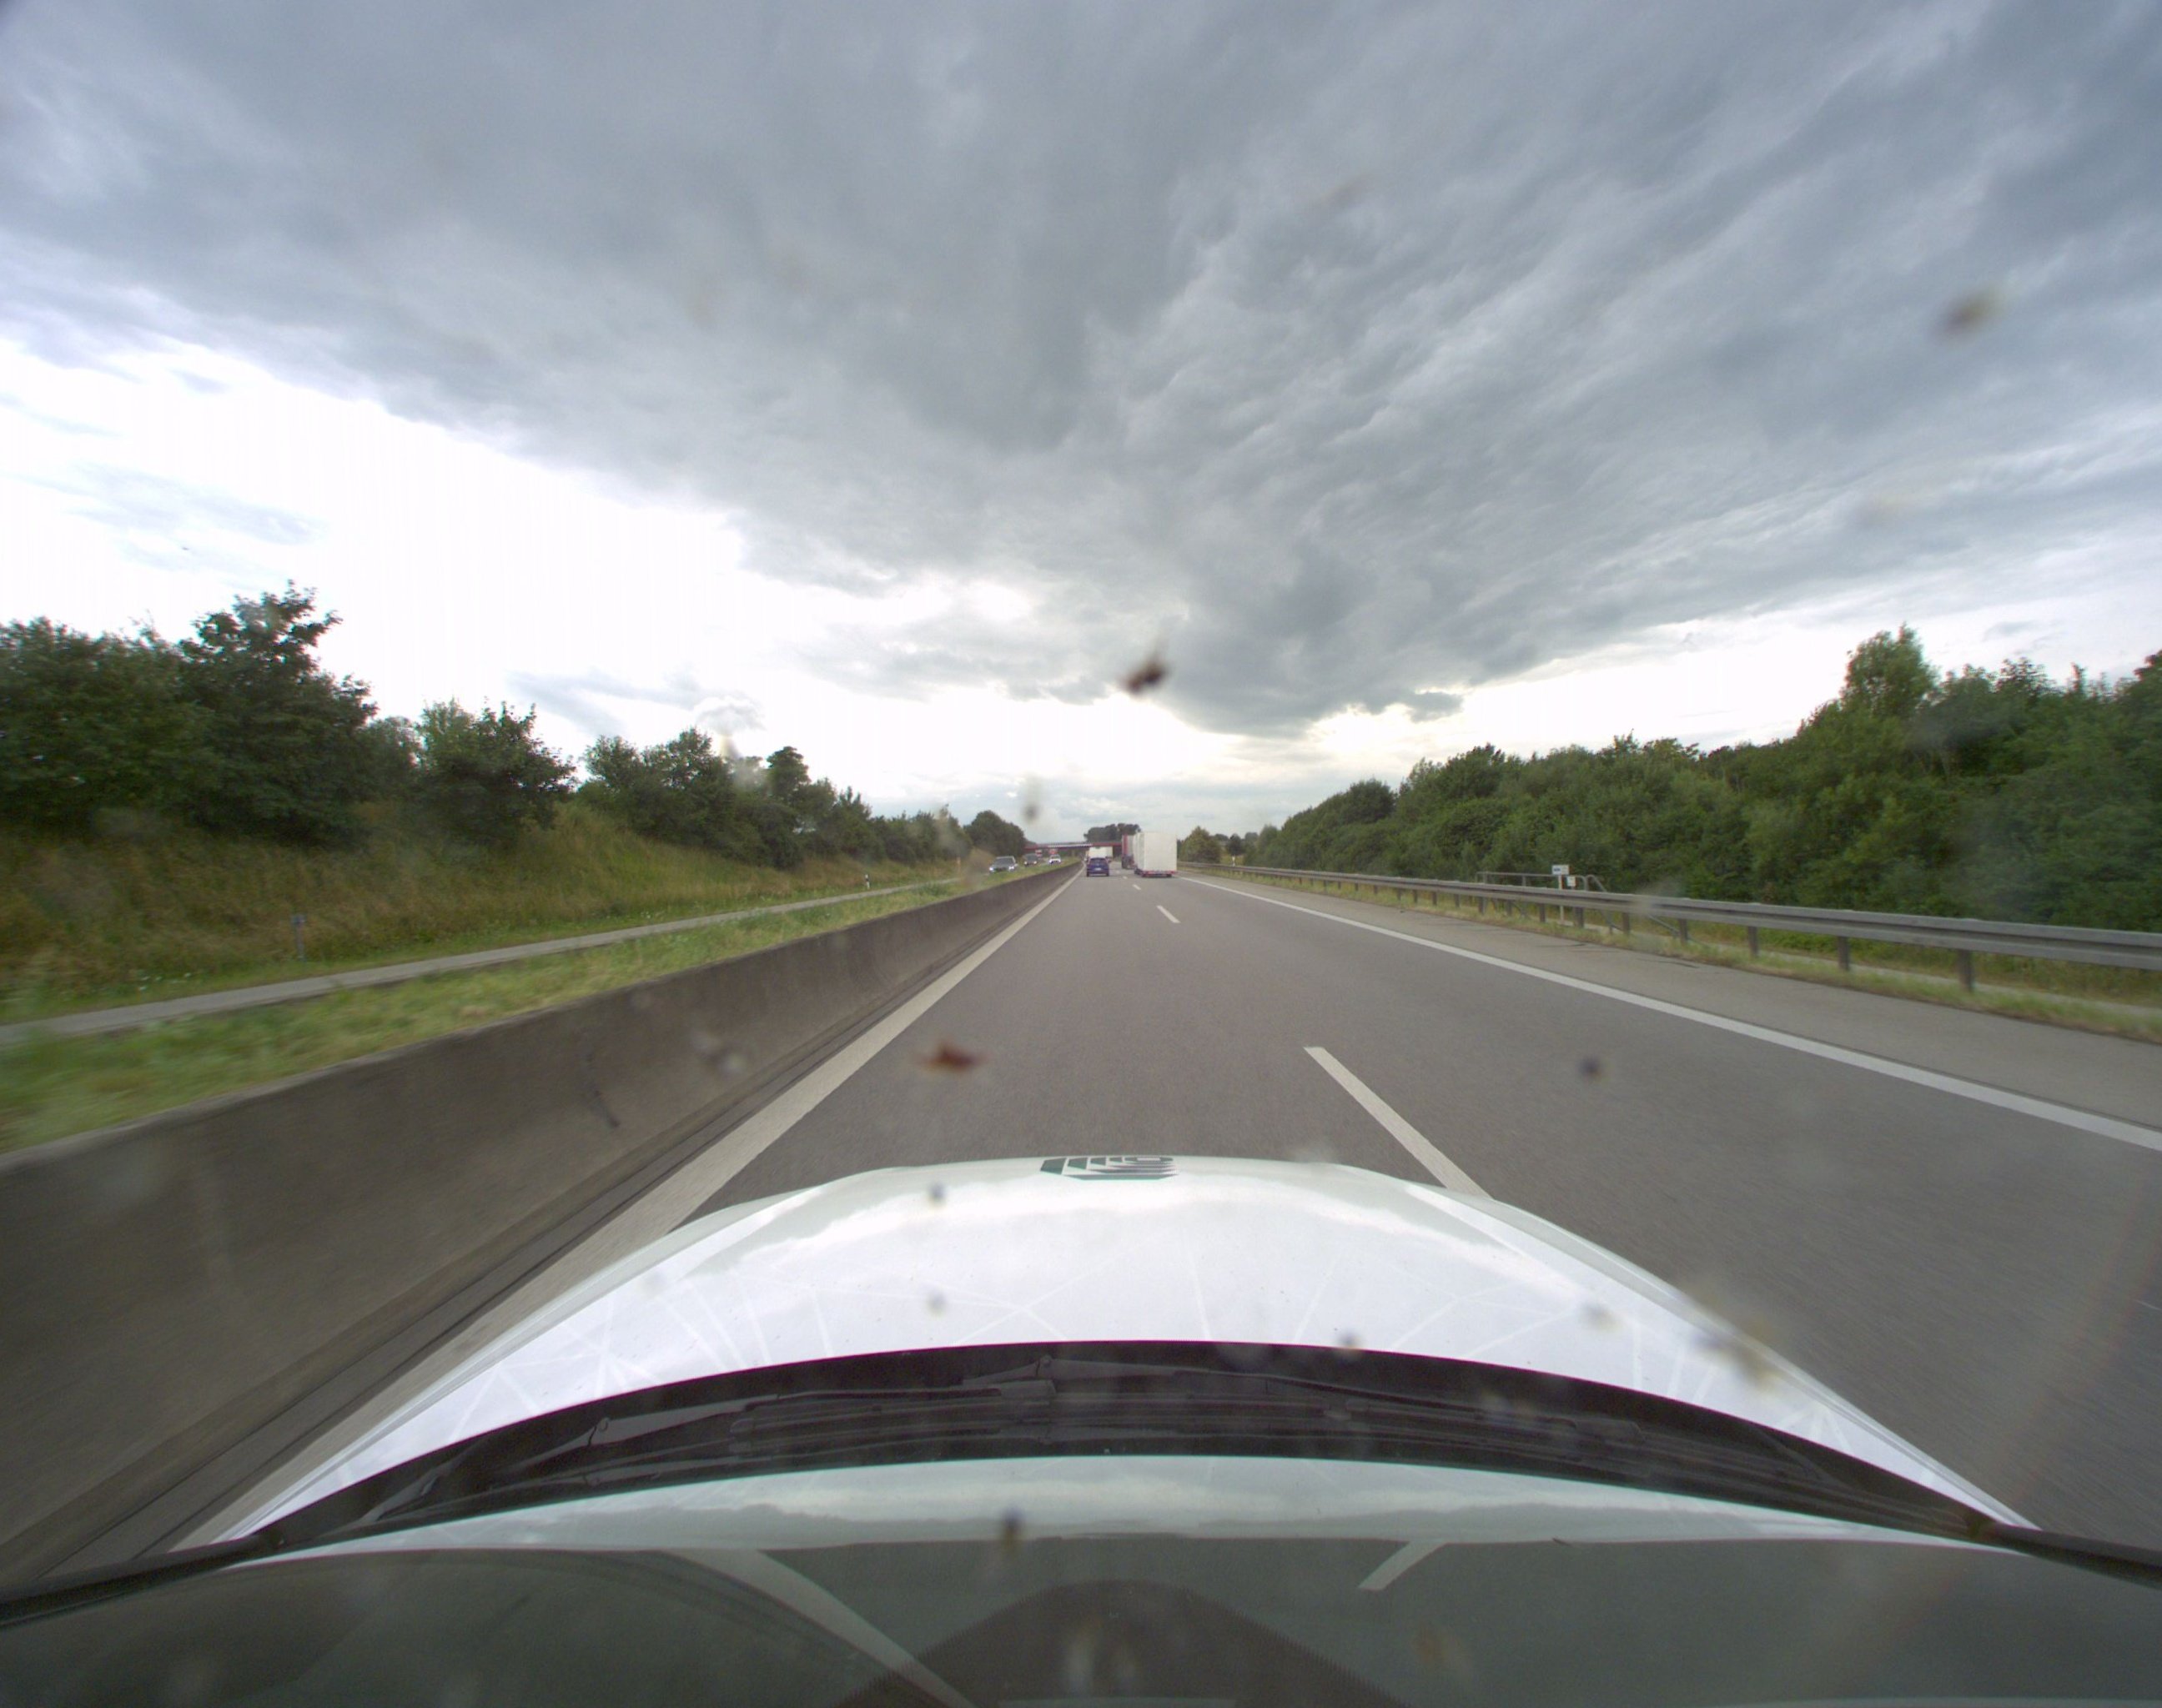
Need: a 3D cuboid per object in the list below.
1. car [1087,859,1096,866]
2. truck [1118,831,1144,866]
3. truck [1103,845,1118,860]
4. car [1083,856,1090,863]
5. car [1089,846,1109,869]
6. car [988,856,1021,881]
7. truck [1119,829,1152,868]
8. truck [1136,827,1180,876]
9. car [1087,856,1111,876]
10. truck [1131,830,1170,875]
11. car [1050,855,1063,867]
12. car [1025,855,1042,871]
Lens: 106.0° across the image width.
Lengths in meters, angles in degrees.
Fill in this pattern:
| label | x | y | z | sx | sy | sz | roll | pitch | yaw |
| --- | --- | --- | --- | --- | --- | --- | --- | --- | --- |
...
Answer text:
| label | x | y | z | sx | sy | sz | roll | pitch | yaw |
| --- | --- | --- | --- | --- | --- | --- | --- | --- | --- |
| car | 2.495 | 2.024 | 192.599 | 1.927 | 1.643 | 4.906 | -2 | 0 | 2 |
| truck | 5.974 | -0.619 | 98.098 | 2.665 | 4.045 | 5.509 | -2 | 0 | -1 |
| truck | 7.307 | -0.335 | 205.719 | 3.101 | 3.689 | 9.318 | -3 | 0 | -1 |
| car | 1.570 | 1.557 | 226.296 | 1.987 | 1.684 | 3.998 | -1 | 0 | -1 |
| car | 2.027 | 0.402 | 92.507 | 2.123 | 2.482 | 5.838 | -2 | 0 | 0 |
| car | -5.820 | 1.093 | 62.822 | 1.912 | 1.694 | 4.598 | -3 | 0 | 1 |
| truck | 6.077 | -0.605 | 92.771 | 2.665 | 4.045 | 11.102 | -2 | 0 | -1 |
| truck | 5.310 | -0.135 | 57.124 | 2.407 | 3.222 | 7.144 | -1 | 0 | 1 |
| car | 1.384 | 0.854 | 61.074 | 1.657 | 1.407 | 3.650 | -1 | 0 | 2 |
| truck | 5.405 | -0.093 | 64.317 | 2.421 | 3.243 | 7.247 | -1 | 0 | 1 |
| car | -4.078 | 1.124 | 138.273 | 1.972 | 2.013 | 5.130 | -1 | 0 | 1 |
| car | -8.032 | 1.512 | 138.961 | 2.162 | 2.465 | 6.724 | -4 | 0 | 1 |
